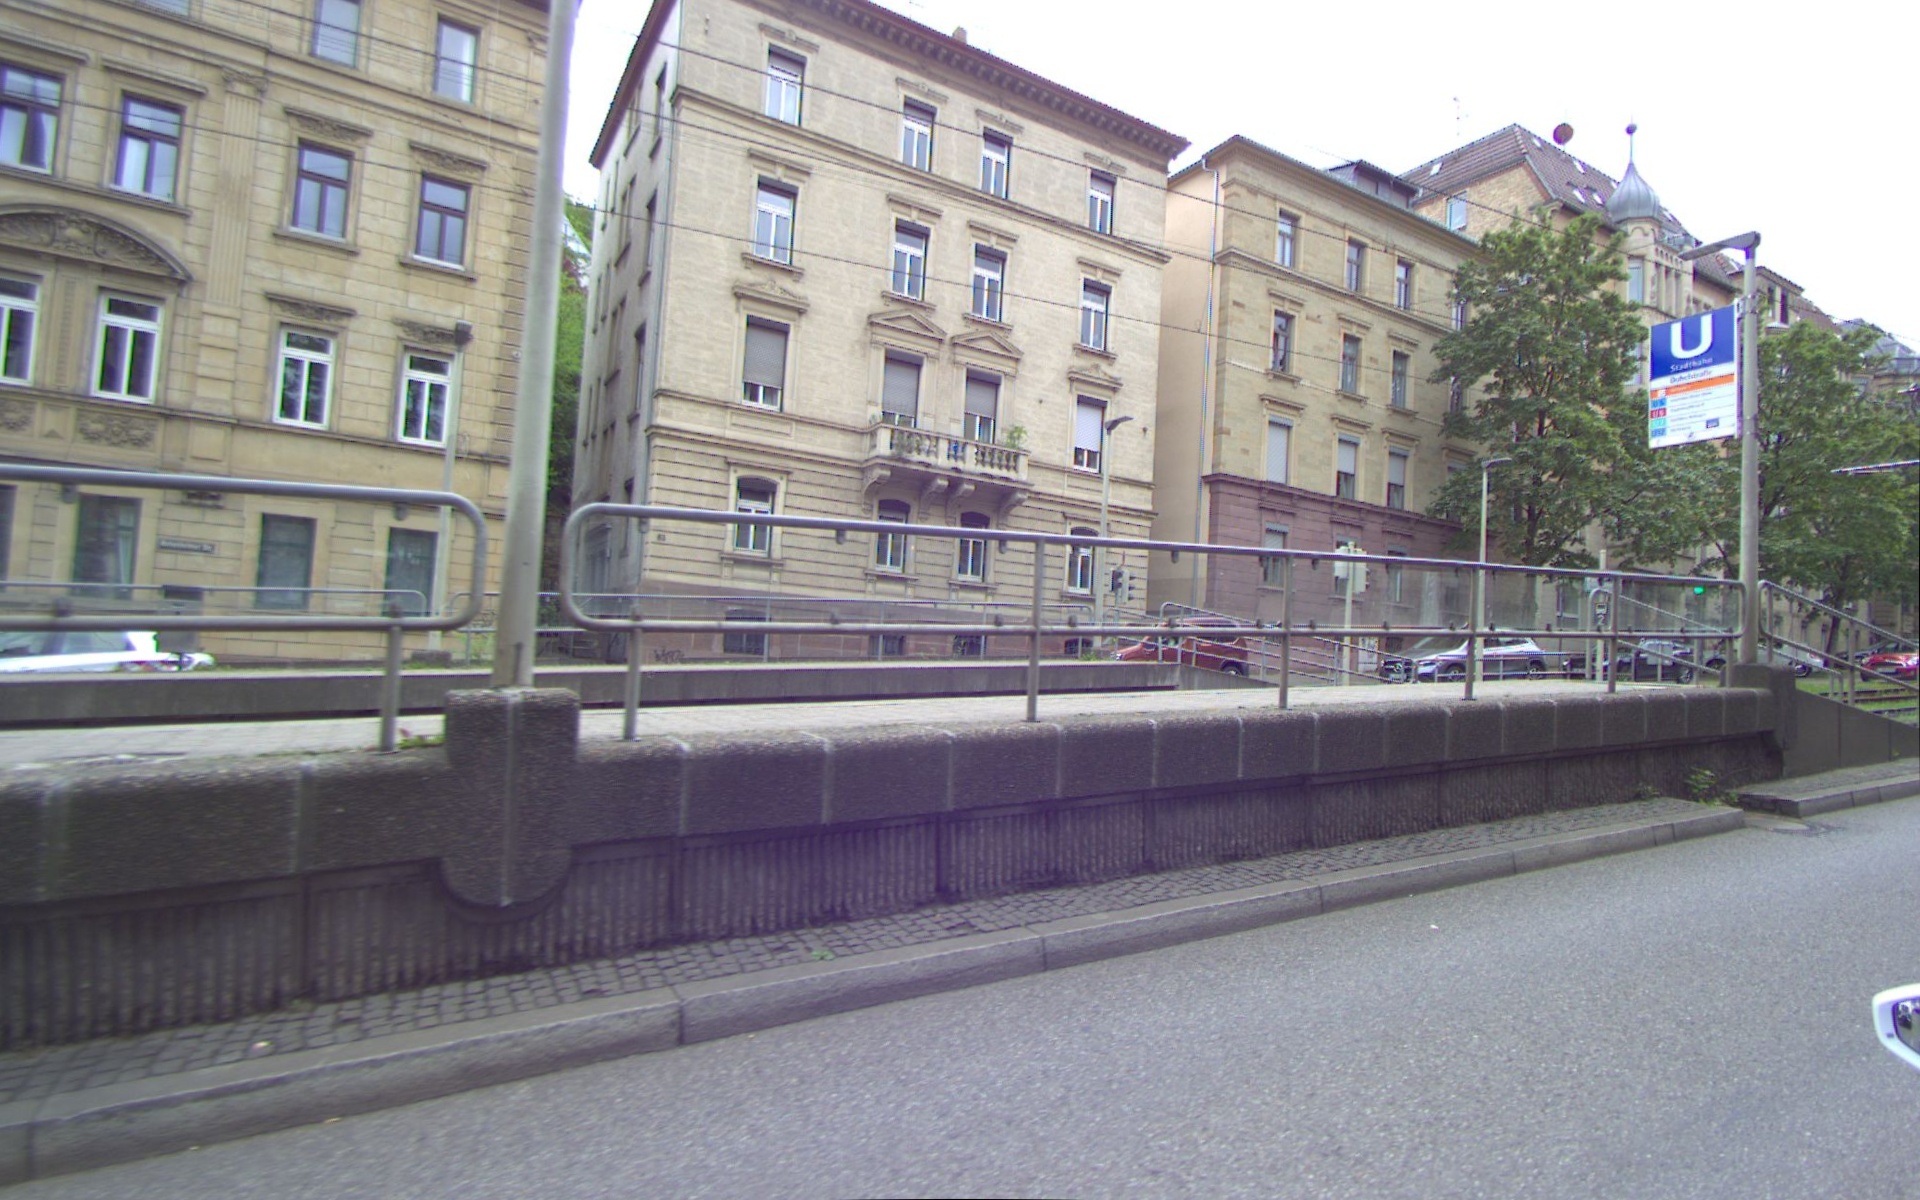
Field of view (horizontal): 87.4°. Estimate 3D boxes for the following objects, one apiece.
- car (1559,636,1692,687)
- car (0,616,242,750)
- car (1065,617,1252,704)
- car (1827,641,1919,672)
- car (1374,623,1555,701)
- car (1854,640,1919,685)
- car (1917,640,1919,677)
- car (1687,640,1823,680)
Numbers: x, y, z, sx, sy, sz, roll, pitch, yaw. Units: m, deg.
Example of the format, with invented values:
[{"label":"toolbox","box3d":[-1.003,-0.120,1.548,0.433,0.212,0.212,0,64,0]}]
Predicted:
[{"label":"car","box3d":[20.444,1.859,30.824,4.167,1.466,1.671,1,-3,-29]},{"label":"car","box3d":[-12.433,1.103,13.815,3.953,1.701,1.927,1,-3,-31]},{"label":"car","box3d":[4.659,1.380,23.528,4.085,1.884,1.842,1,-2,-27]},{"label":"car","box3d":[42.957,2.604,46.443,4.110,1.382,1.709,0,-2,31]},{"label":"car","box3d":[12.264,1.455,24.349,4.521,1.758,1.702,1,-2,-30]},{"label":"car","box3d":[31.346,2.025,33.062,3.605,1.395,1.572,1,-2,-25]},{"label":"car","box3d":[39.942,2.292,39.768,4.693,1.447,1.740,1,-3,-31]},{"label":"car","box3d":[30.973,2.309,39.284,3.928,1.441,1.783,0,-2,29]}]
